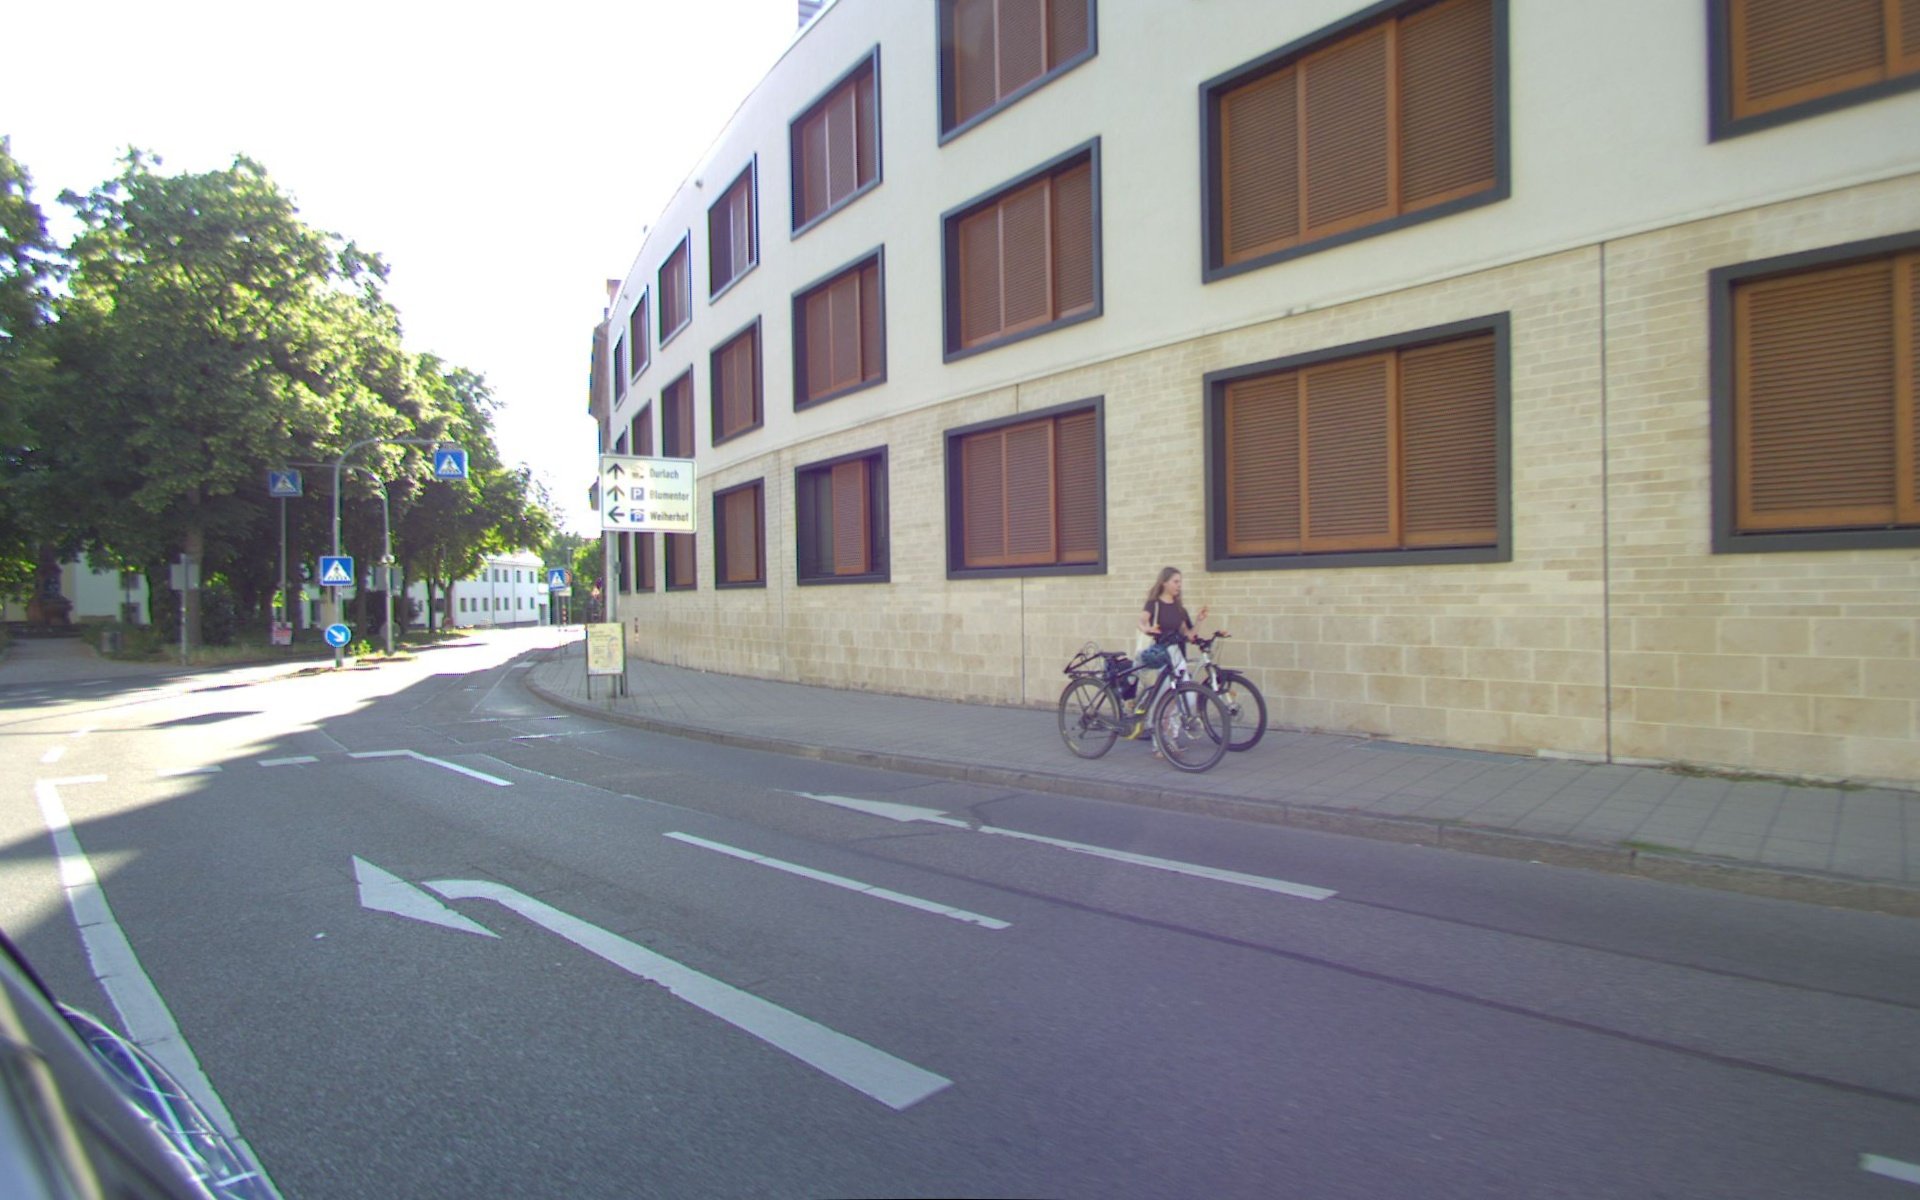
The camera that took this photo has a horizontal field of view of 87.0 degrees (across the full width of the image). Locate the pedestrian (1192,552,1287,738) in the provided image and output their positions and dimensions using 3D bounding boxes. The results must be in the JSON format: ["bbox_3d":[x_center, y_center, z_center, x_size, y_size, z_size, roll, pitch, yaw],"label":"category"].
[{"bbox_3d":[2.483,0.383,9.003,0.468,1.576,0.604,-2,0,-37],"label":"pedestrian"}]

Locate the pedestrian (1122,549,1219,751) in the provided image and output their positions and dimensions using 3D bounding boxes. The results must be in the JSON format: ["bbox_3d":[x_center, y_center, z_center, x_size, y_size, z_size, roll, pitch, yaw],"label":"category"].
[{"bbox_3d":[1.801,0.409,8.671,0.468,1.660,0.604,-2,0,-37],"label":"pedestrian"}]

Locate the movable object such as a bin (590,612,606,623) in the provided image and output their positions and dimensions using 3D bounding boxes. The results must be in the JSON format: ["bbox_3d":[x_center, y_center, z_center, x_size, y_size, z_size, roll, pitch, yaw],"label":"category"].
[{"bbox_3d":[-32.379,1.554,90.583,1.028,0.935,0.837,-3,0,15],"label":"movable object such as a bin"}]

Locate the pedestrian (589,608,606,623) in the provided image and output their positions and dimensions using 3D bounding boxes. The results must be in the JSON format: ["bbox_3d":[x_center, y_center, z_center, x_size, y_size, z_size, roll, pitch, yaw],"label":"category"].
[{"bbox_3d":[-32.471,1.419,90.609,1.148,1.238,0.837,-3,0,16],"label":"pedestrian"}]

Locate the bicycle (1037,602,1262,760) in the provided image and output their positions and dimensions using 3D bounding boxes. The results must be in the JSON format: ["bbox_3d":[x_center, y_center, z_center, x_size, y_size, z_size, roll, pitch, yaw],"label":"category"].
[{"bbox_3d":[1.539,0.649,8.562,0.435,1.187,1.969,-2,-1,-42],"label":"bicycle"}]

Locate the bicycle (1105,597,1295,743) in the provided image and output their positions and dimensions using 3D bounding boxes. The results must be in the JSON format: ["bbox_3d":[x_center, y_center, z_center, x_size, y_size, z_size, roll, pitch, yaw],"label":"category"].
[{"bbox_3d":[2.099,0.590,9.092,0.371,1.176,1.842,-2,0,-35],"label":"bicycle"}]
